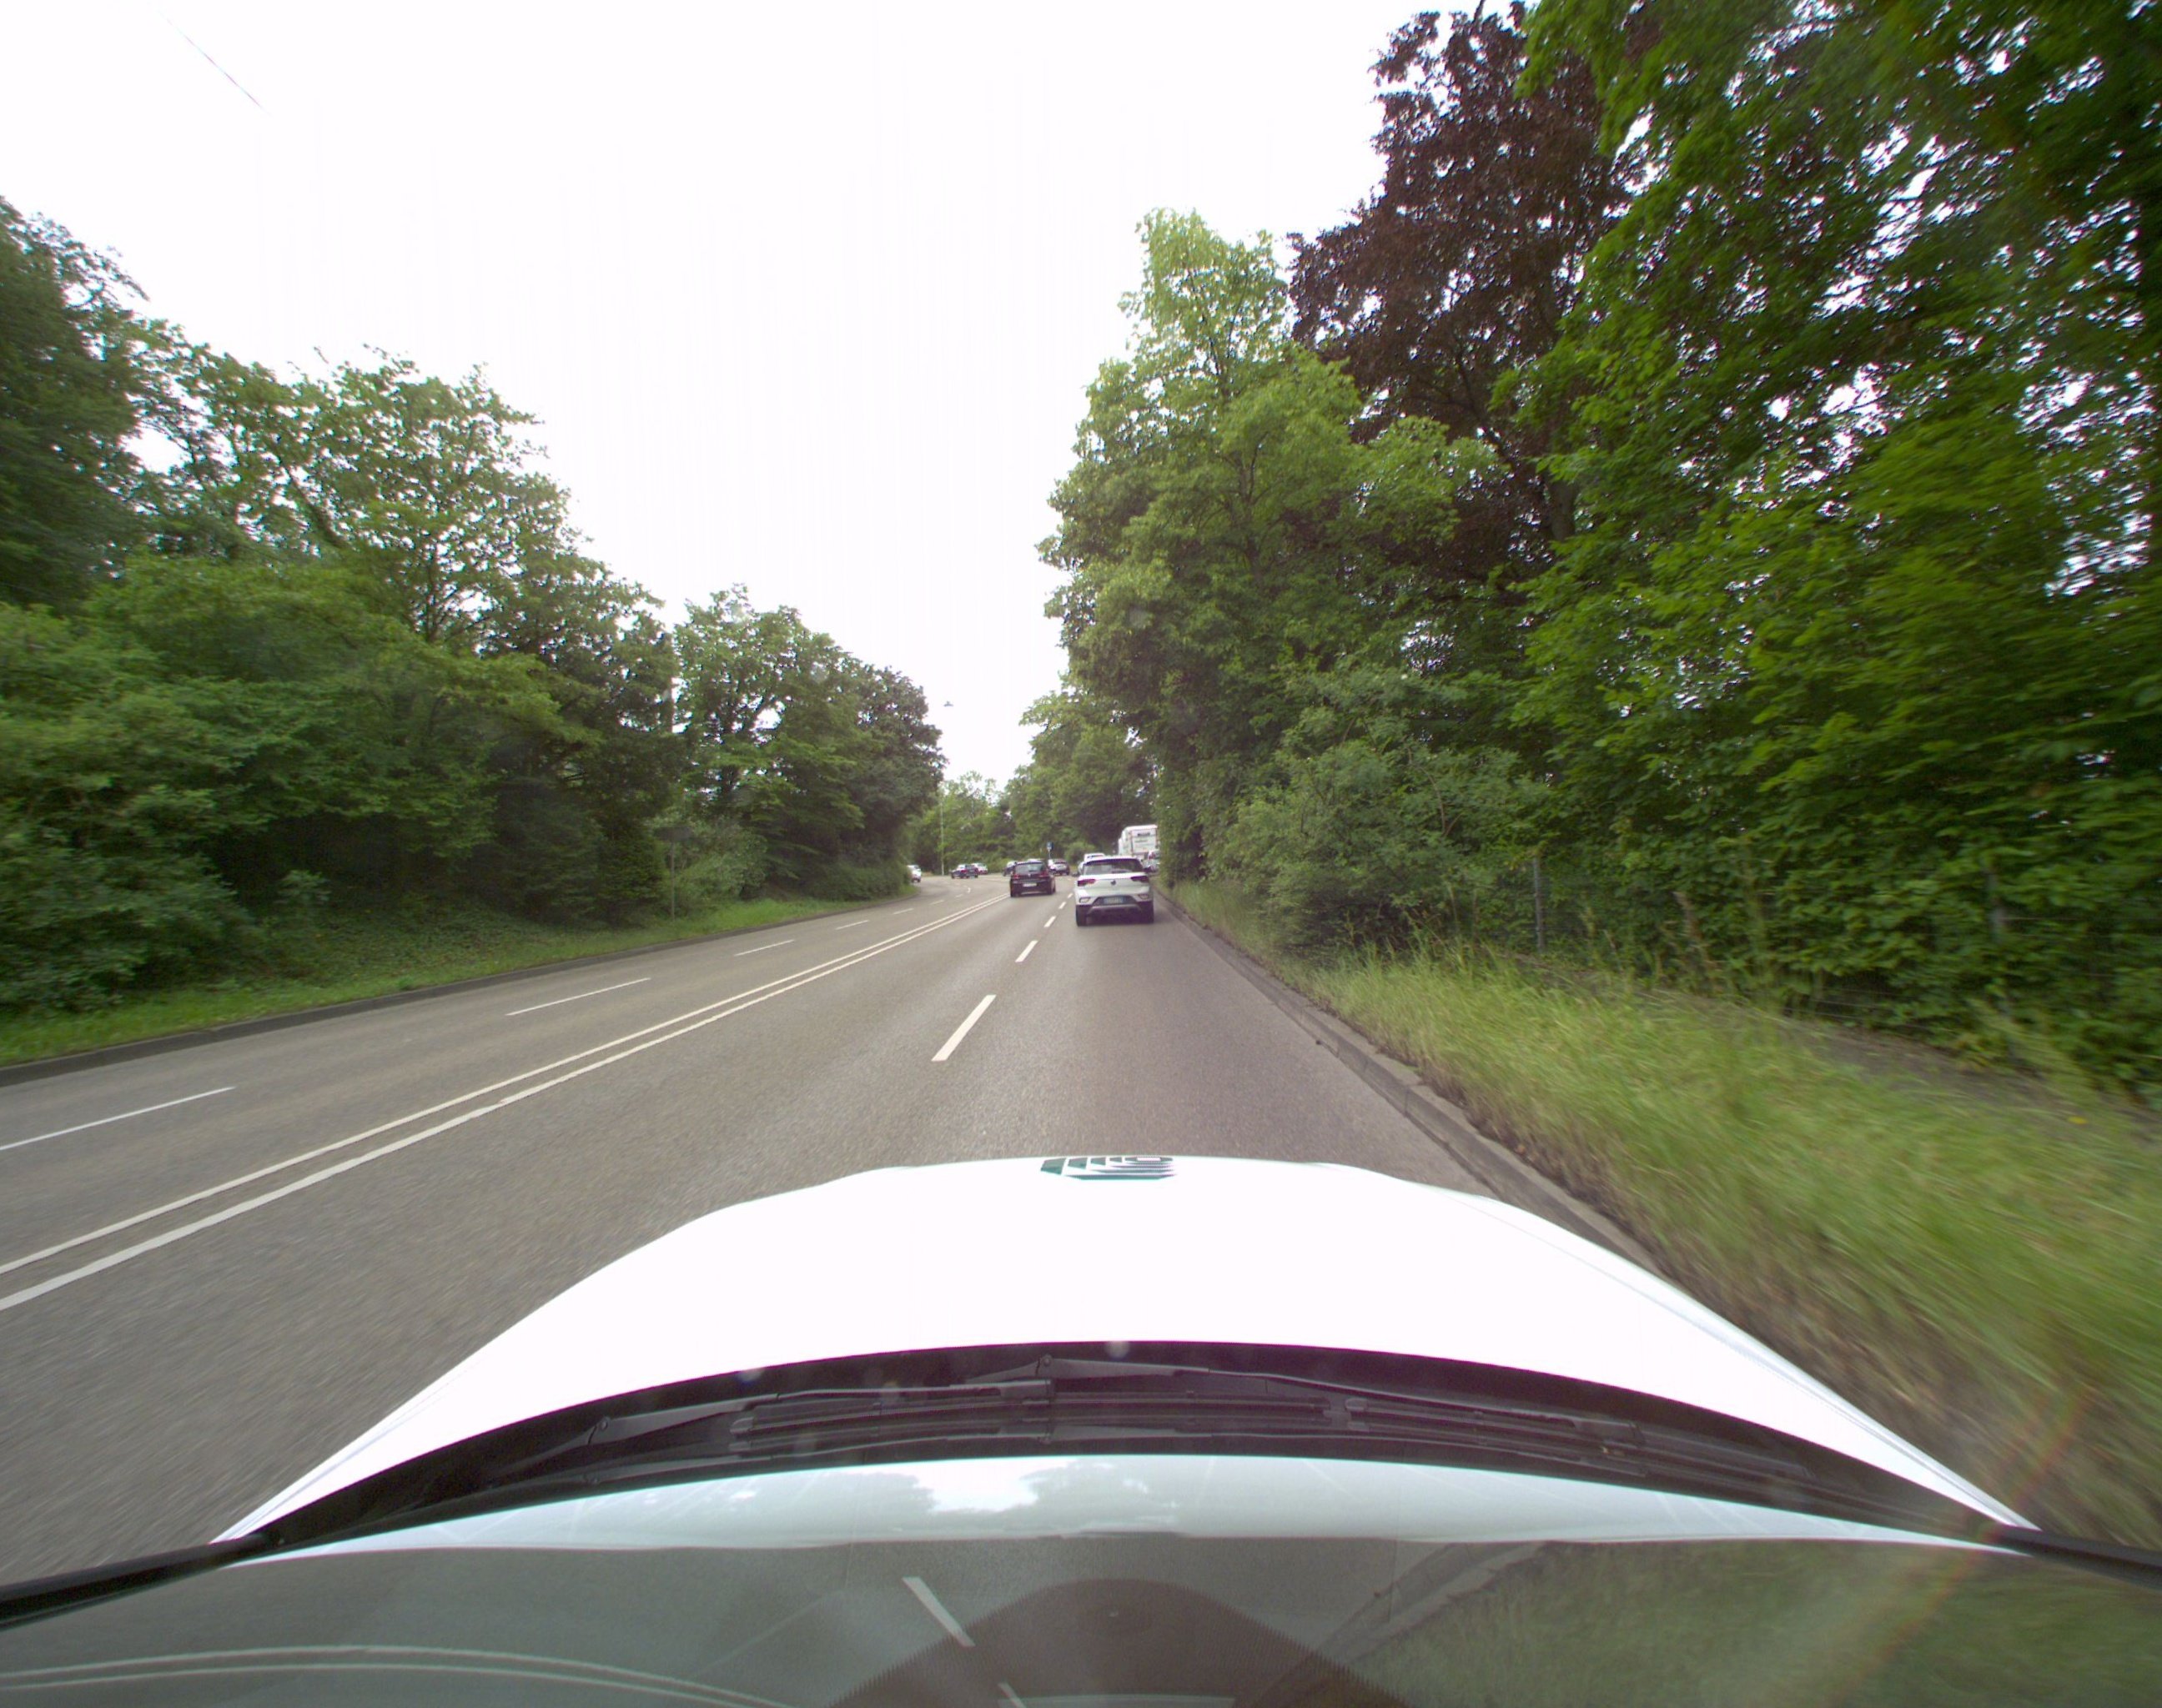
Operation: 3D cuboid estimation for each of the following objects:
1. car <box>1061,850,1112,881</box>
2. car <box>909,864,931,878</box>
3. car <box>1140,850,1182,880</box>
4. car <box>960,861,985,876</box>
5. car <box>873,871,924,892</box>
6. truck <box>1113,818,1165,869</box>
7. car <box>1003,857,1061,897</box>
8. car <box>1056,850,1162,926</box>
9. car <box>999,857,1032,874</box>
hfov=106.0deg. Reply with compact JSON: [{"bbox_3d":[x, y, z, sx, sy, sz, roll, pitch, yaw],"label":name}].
[{"bbox_3d":[0.291,0.718,51.120,1.858,1.702,3.973,-5,1,-20],"label":"car"},{"bbox_3d":[-19.412,2.019,98.410,1.815,1.623,4.001,-1,-1,1],"label":"car"},{"bbox_3d":[4.349,0.597,44.918,1.798,1.524,3.998,-3,0,-1],"label":"car"},{"bbox_3d":[-11.315,1.499,85.381,1.986,1.592,4.001,-1,-1,1],"label":"car"},{"bbox_3d":[-17.746,2.650,79.218,4.384,1.693,1.873,2,8,21],"label":"car"},{"bbox_3d":[3.795,-0.623,54.937,2.477,3.182,7.218,-1,-1,-4],"label":"truck"},{"bbox_3d":[-2.037,0.937,34.772,1.941,1.466,4.003,-4,-1,3],"label":"car"},{"bbox_3d":[0.552,0.760,19.619,1.998,1.596,3.991,-1,-1,-6],"label":"car"},{"bbox_3d":[-6.710,1.179,82.690,1.777,1.607,3.960,0,-1,-31],"label":"car"}]
